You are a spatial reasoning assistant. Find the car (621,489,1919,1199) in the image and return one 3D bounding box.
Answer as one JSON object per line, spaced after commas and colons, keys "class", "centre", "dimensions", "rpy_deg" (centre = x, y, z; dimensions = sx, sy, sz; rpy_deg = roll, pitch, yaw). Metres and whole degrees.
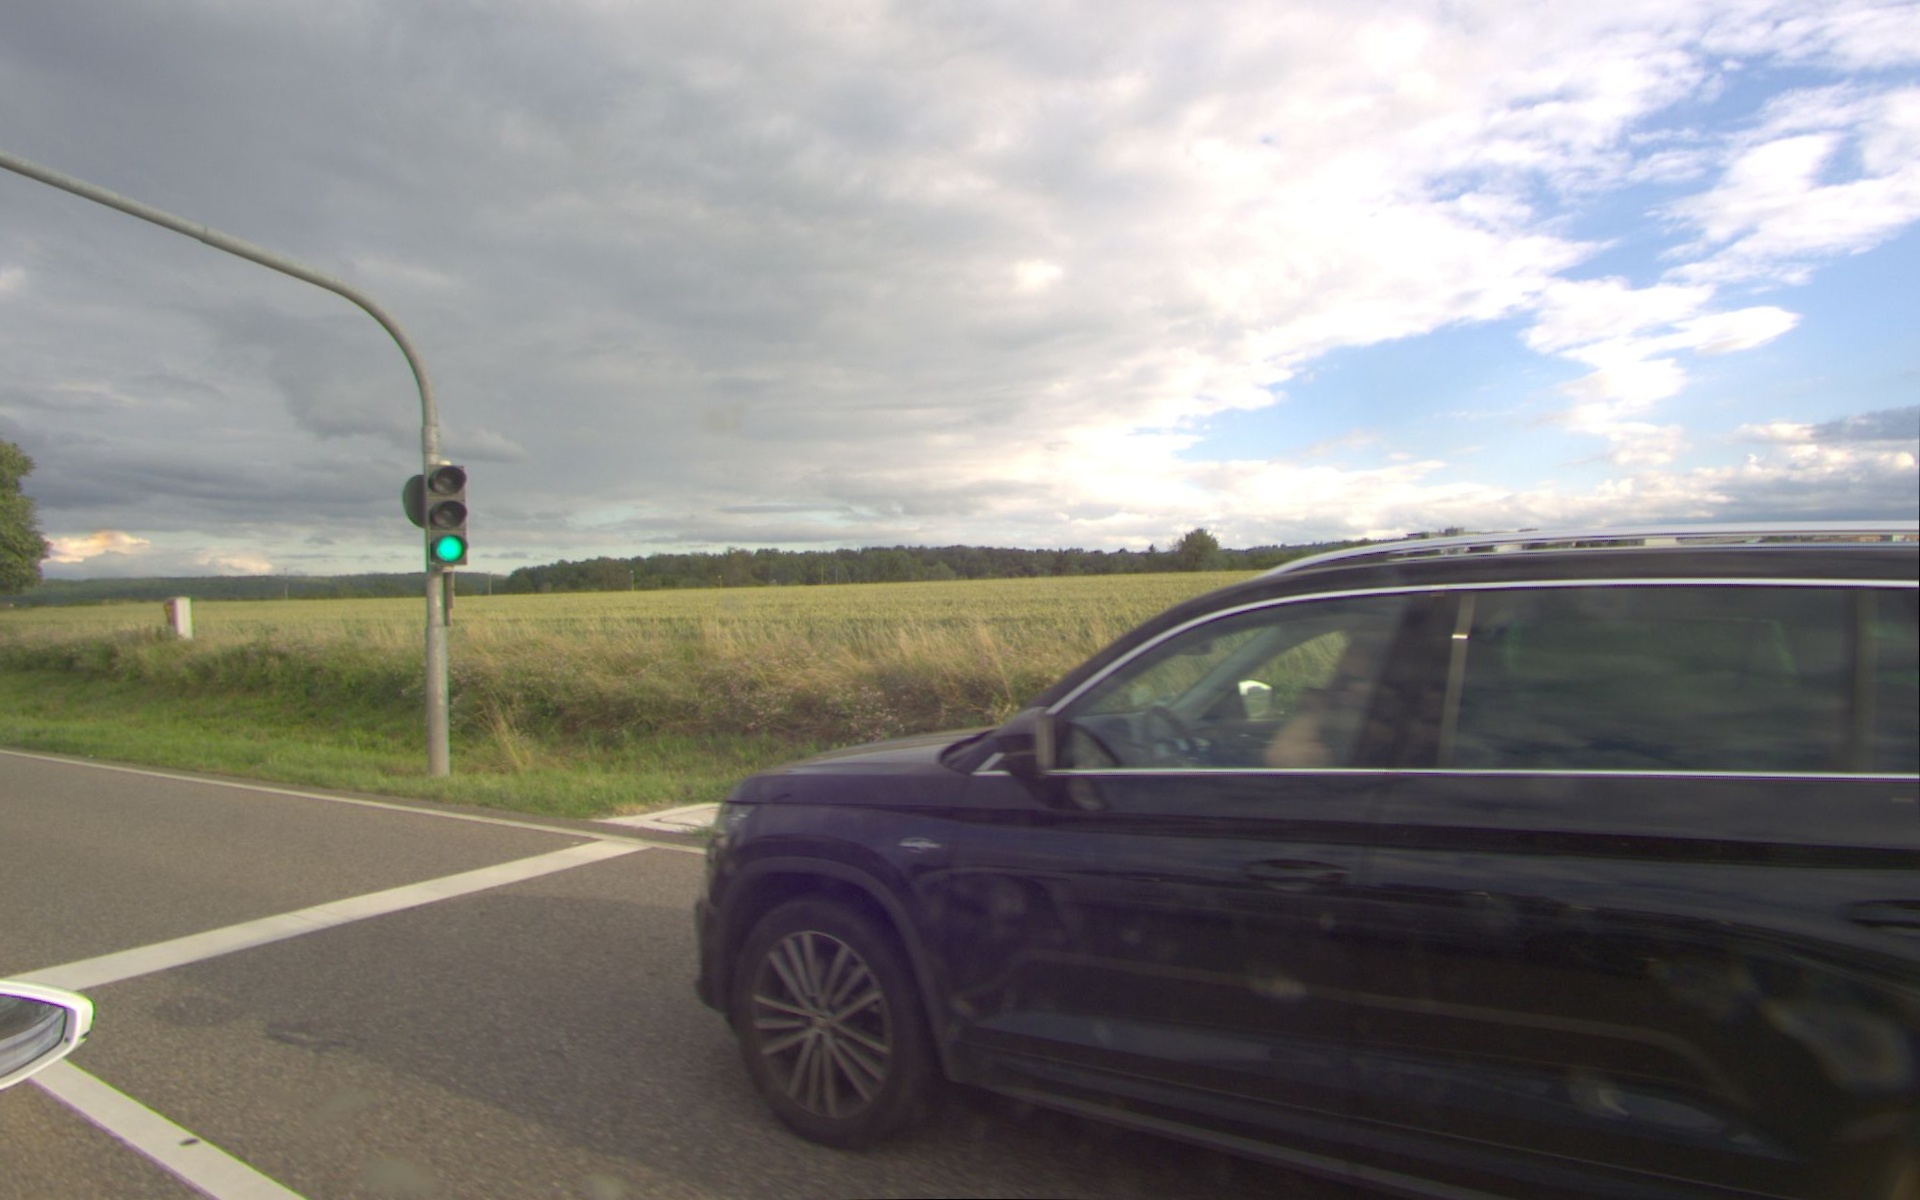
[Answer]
{"class": "car", "centre": [1.185, 0.708, 2.841], "dimensions": [4.356, 1.689, 1.716], "rpy_deg": [-1, -2, 32]}
